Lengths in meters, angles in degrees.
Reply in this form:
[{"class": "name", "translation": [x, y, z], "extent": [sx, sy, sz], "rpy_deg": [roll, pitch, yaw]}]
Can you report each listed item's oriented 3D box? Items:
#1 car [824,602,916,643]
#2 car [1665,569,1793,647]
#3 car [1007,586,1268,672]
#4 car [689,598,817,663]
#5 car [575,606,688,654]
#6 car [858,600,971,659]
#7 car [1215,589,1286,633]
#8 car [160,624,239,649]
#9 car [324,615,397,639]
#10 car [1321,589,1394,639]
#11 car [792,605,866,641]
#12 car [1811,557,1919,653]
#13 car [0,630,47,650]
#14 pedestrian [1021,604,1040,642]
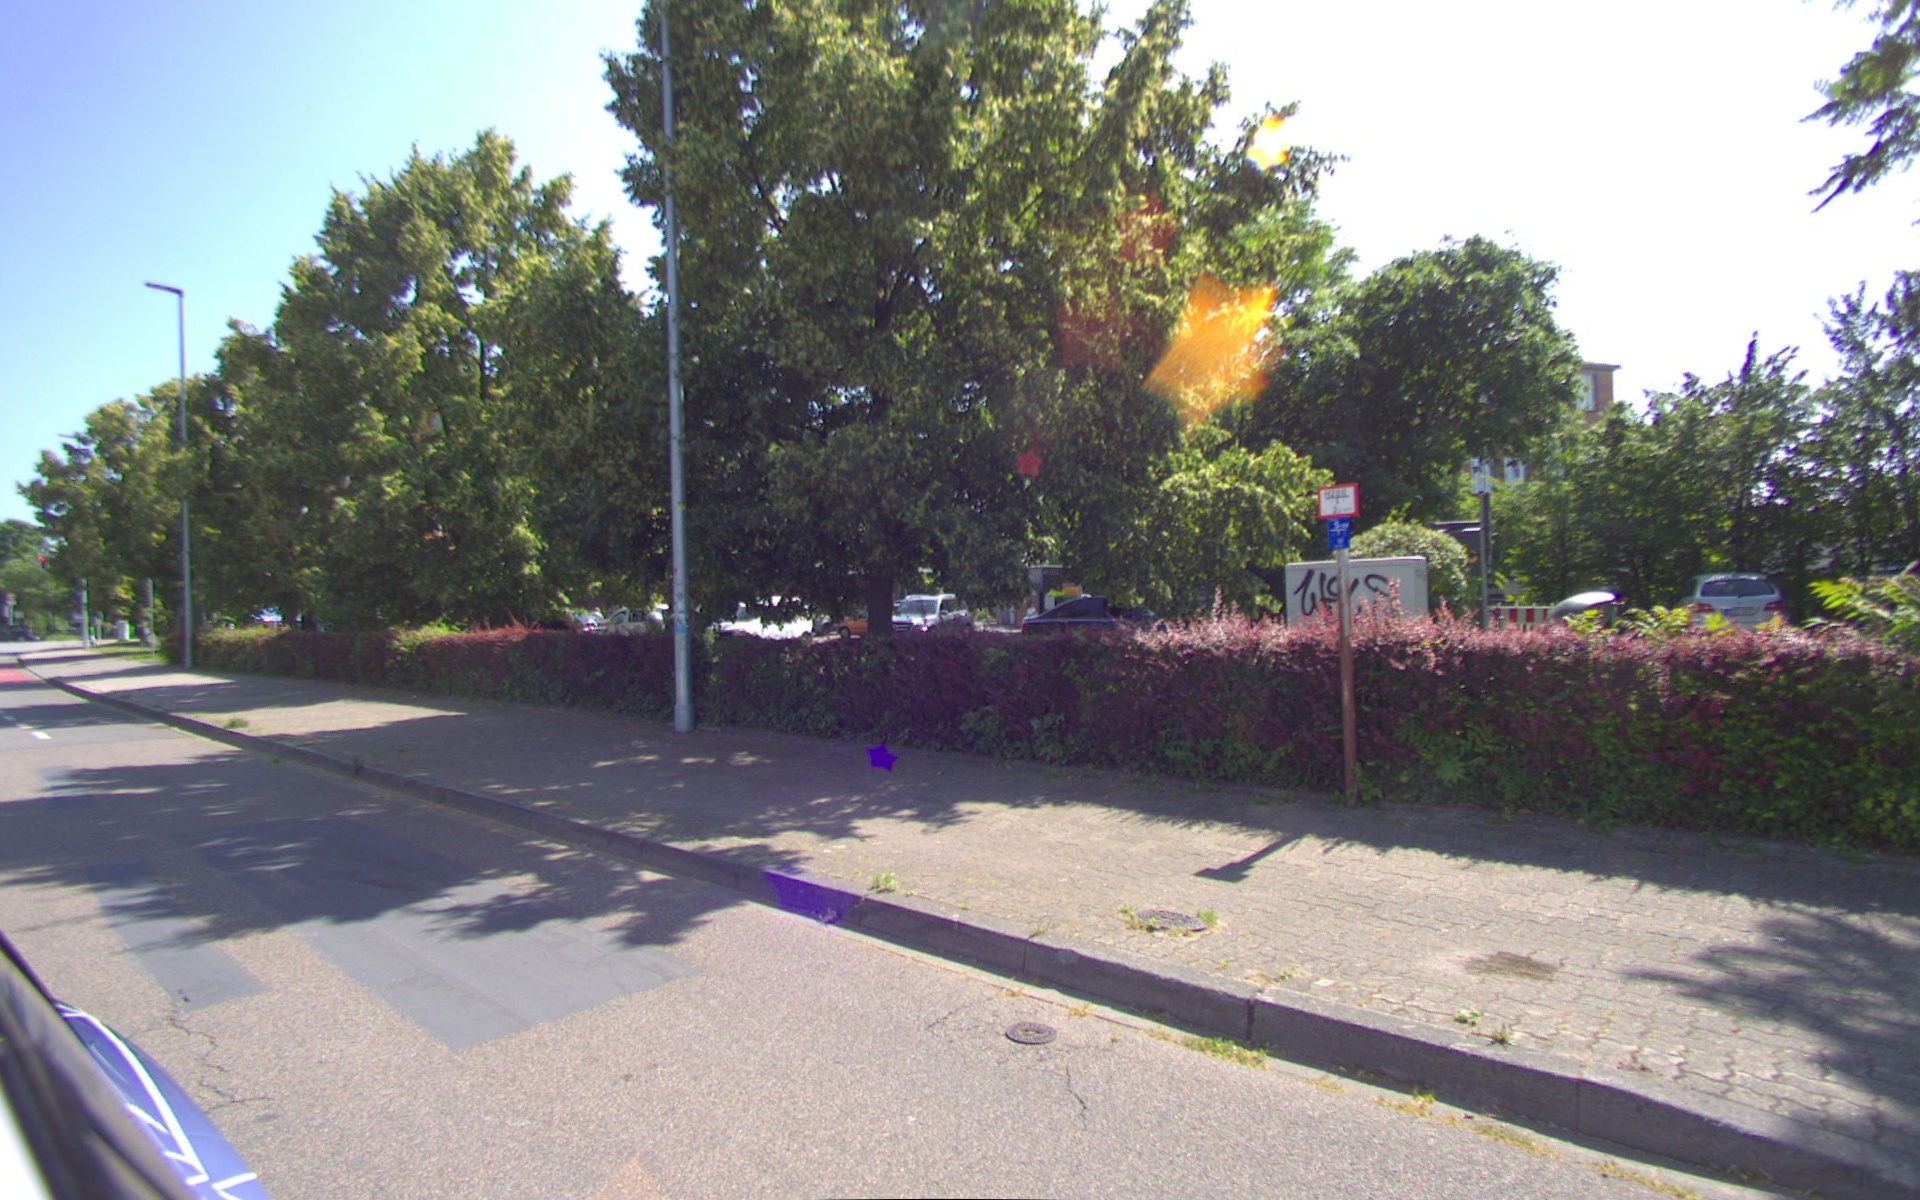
[{"class": "car", "translation": [-3.976, 1.001, 44.502], "extent": [3.709, 1.644, 1.652], "rpy_deg": [-2, 0, 30]}, {"class": "car", "translation": [17.347, 0.143, 23.010], "extent": [1.635, 1.599, 3.814], "rpy_deg": [-2, 0, 28]}, {"class": "car", "translation": [3.550, 0.560, 20.974], "extent": [5.030, 1.572, 2.045], "rpy_deg": [-1, 0, 43]}, {"class": "car", "translation": [-6.395, 0.890, 31.771], "extent": [1.738, 1.841, 4.319], "rpy_deg": [-3, -1, 23]}, {"class": "car", "translation": [-13.412, 1.236, 41.355], "extent": [4.197, 1.812, 1.748], "rpy_deg": [-2, 0, 21]}, {"class": "car", "translation": [-1.319, 0.857, 31.024], "extent": [1.895, 1.595, 3.778], "rpy_deg": [-2, 0, 25]}, {"class": "car", "translation": [11.519, 0.396, 39.997], "extent": [1.812, 1.588, 3.831], "rpy_deg": [-2, 0, 30]}, {"class": "car", "translation": [-58.843, 2.782, 78.408], "extent": [4.503, 1.664, 1.837], "rpy_deg": [-1, 3, -15]}, {"class": "car", "translation": [-48.118, 2.182, 81.287], "extent": [4.687, 1.664, 1.837], "rpy_deg": [-1, 3, -15]}, {"class": "car", "translation": [13.077, 0.429, 33.179], "extent": [1.786, 1.461, 4.010], "rpy_deg": [-2, 0, 28]}, {"class": "car", "translation": [-6.165, 1.060, 47.878], "extent": [1.614, 1.543, 3.577], "rpy_deg": [-2, 0, 30]}, {"class": "car", "translation": [18.557, 0.048, 20.044], "extent": [1.794, 1.745, 3.985], "rpy_deg": [-2, 0, 29]}, {"class": "car", "translation": [-74.708, 3.195, 79.296], "extent": [4.295, 1.356, 1.838], "rpy_deg": [-1, 3, -19]}, {"class": "pedestrian", "translation": [2.807, 0.926, 40.126], "extent": [0.493, 1.471, 0.545], "rpy_deg": [-2, 1, 32]}]
